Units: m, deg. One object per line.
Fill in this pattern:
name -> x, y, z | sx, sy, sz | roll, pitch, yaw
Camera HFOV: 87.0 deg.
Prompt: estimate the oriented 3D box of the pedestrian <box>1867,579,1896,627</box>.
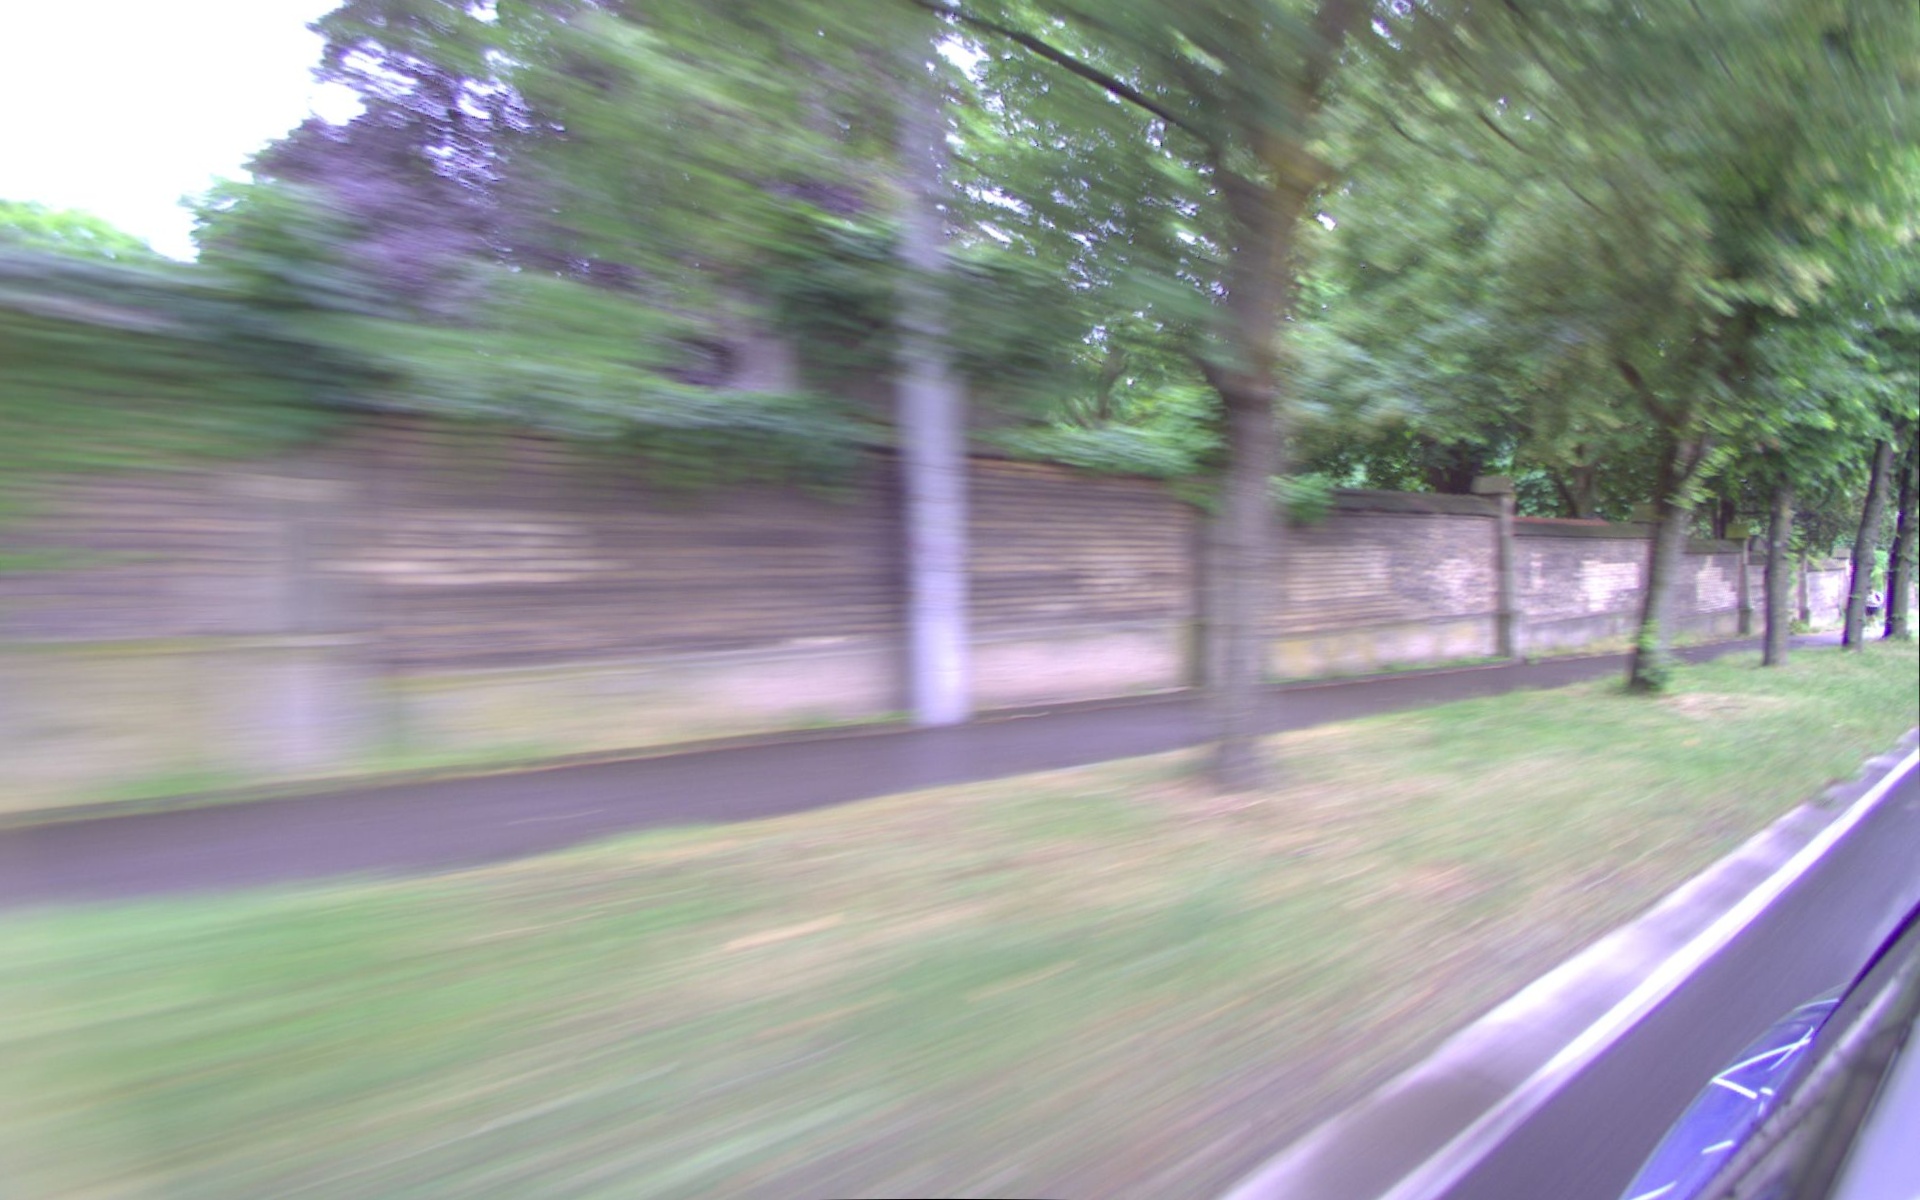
pedestrian -> 34.981, 0.102, 38.432 | 0.886, 1.801, 0.709 | 1, 1, -44
